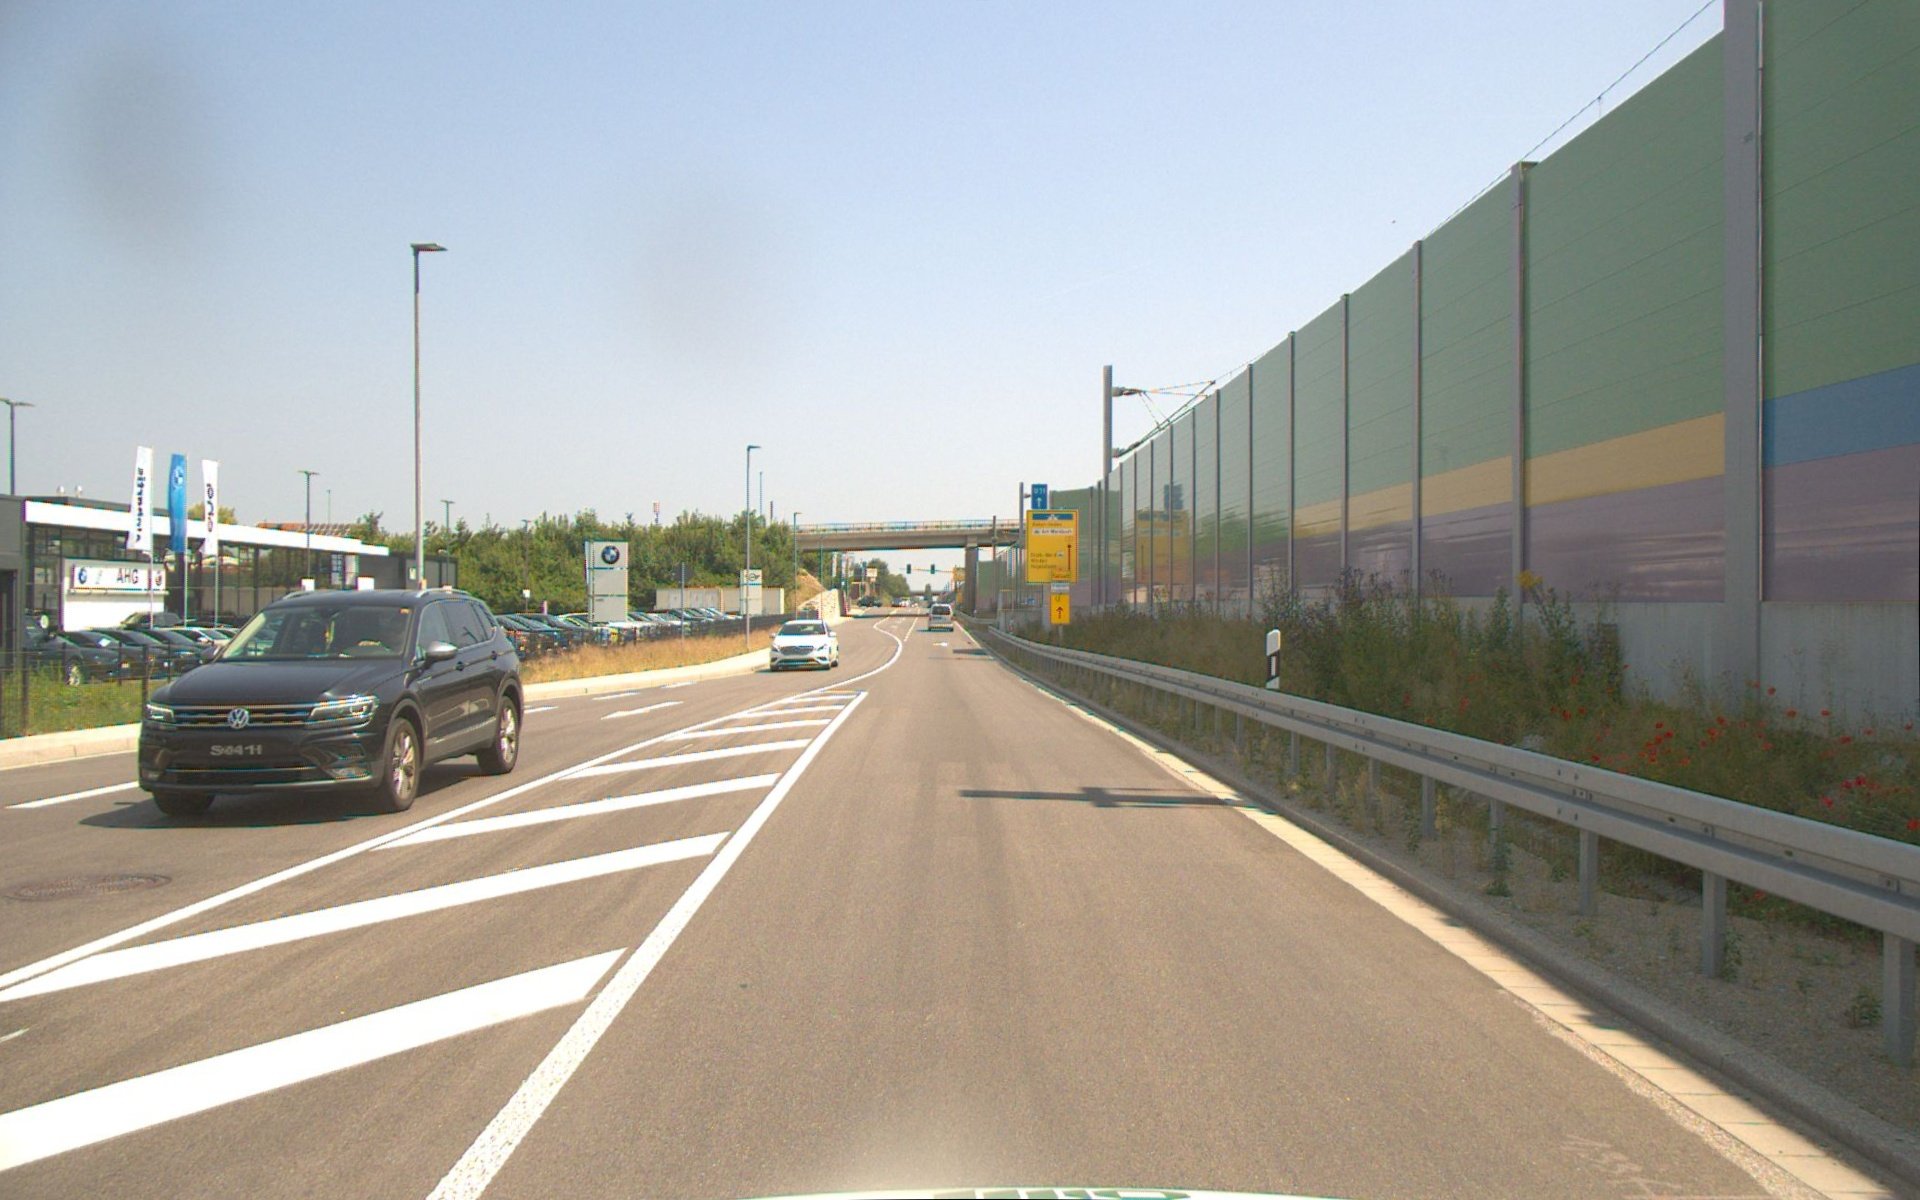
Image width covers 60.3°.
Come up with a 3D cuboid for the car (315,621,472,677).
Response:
[{"bbox_3d":[-16.328,1.391,47.830,3.907,1.506,1.910,-1,0,-3],"label":"car"}]

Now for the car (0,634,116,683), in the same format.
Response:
[{"bbox_3d":[-32.333,2.063,58.620,3.907,1.614,1.814,-1,0,-3],"label":"car"}]

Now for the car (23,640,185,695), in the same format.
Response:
[{"bbox_3d":[-25.716,2.020,49.766,3.907,1.506,1.814,-1,0,-3],"label":"car"}]

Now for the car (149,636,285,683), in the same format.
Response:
[{"bbox_3d":[-25.771,2.047,57.471,3.907,1.521,1.814,-1,0,-3],"label":"car"}]

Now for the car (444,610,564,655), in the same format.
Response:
[{"bbox_3d":[-16.600,1.162,60.338,3.907,1.561,1.814,-1,0,-3],"label":"car"}]

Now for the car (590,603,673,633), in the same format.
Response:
[{"bbox_3d":[-17.633,0.953,88.897,4.079,1.572,1.815,-1,0,-1],"label":"car"}]

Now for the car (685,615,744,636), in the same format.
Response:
[{"bbox_3d":[-18.276,1.867,123.326,4.079,1.492,1.815,-1,0,-1],"label":"car"}]

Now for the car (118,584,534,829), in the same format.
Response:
[{"bbox_3d":[-4.983,0.741,13.710,1.839,1.702,4.290,0,0,-1],"label":"car"}]

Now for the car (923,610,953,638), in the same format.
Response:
[{"bbox_3d":[-1.443,1.584,111.072,1.952,1.788,4.000,0,0,0],"label":"car"}]

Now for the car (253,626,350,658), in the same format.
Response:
[{"bbox_3d":[-32.963,2.093,82.857,4.079,1.492,1.815,-1,0,-1],"label":"car"}]

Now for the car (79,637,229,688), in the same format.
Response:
[{"bbox_3d":[-25.768,1.995,52.978,3.907,1.506,1.814,-1,0,-3],"label":"car"}]

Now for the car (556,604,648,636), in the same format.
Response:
[{"bbox_3d":[-17.497,0.982,80.915,4.079,1.492,1.815,-1,0,-1],"label":"car"}]

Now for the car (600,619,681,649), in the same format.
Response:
[{"bbox_3d":[-17.632,1.894,91.387,4.079,1.572,1.815,-1,0,-1],"label":"car"}]

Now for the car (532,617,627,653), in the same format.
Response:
[{"bbox_3d":[-17.324,1.596,75.482,3.906,1.561,1.815,-1,0,-1],"label":"car"}]

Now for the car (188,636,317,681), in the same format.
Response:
[{"bbox_3d":[-25.855,2.135,60.523,3.907,1.521,1.814,-1,0,-3],"label":"car"}]

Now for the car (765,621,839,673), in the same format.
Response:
[{"bbox_3d":[-4.628,1.367,48.954,1.744,1.440,4.050,0,-1,1],"label":"car"}]
